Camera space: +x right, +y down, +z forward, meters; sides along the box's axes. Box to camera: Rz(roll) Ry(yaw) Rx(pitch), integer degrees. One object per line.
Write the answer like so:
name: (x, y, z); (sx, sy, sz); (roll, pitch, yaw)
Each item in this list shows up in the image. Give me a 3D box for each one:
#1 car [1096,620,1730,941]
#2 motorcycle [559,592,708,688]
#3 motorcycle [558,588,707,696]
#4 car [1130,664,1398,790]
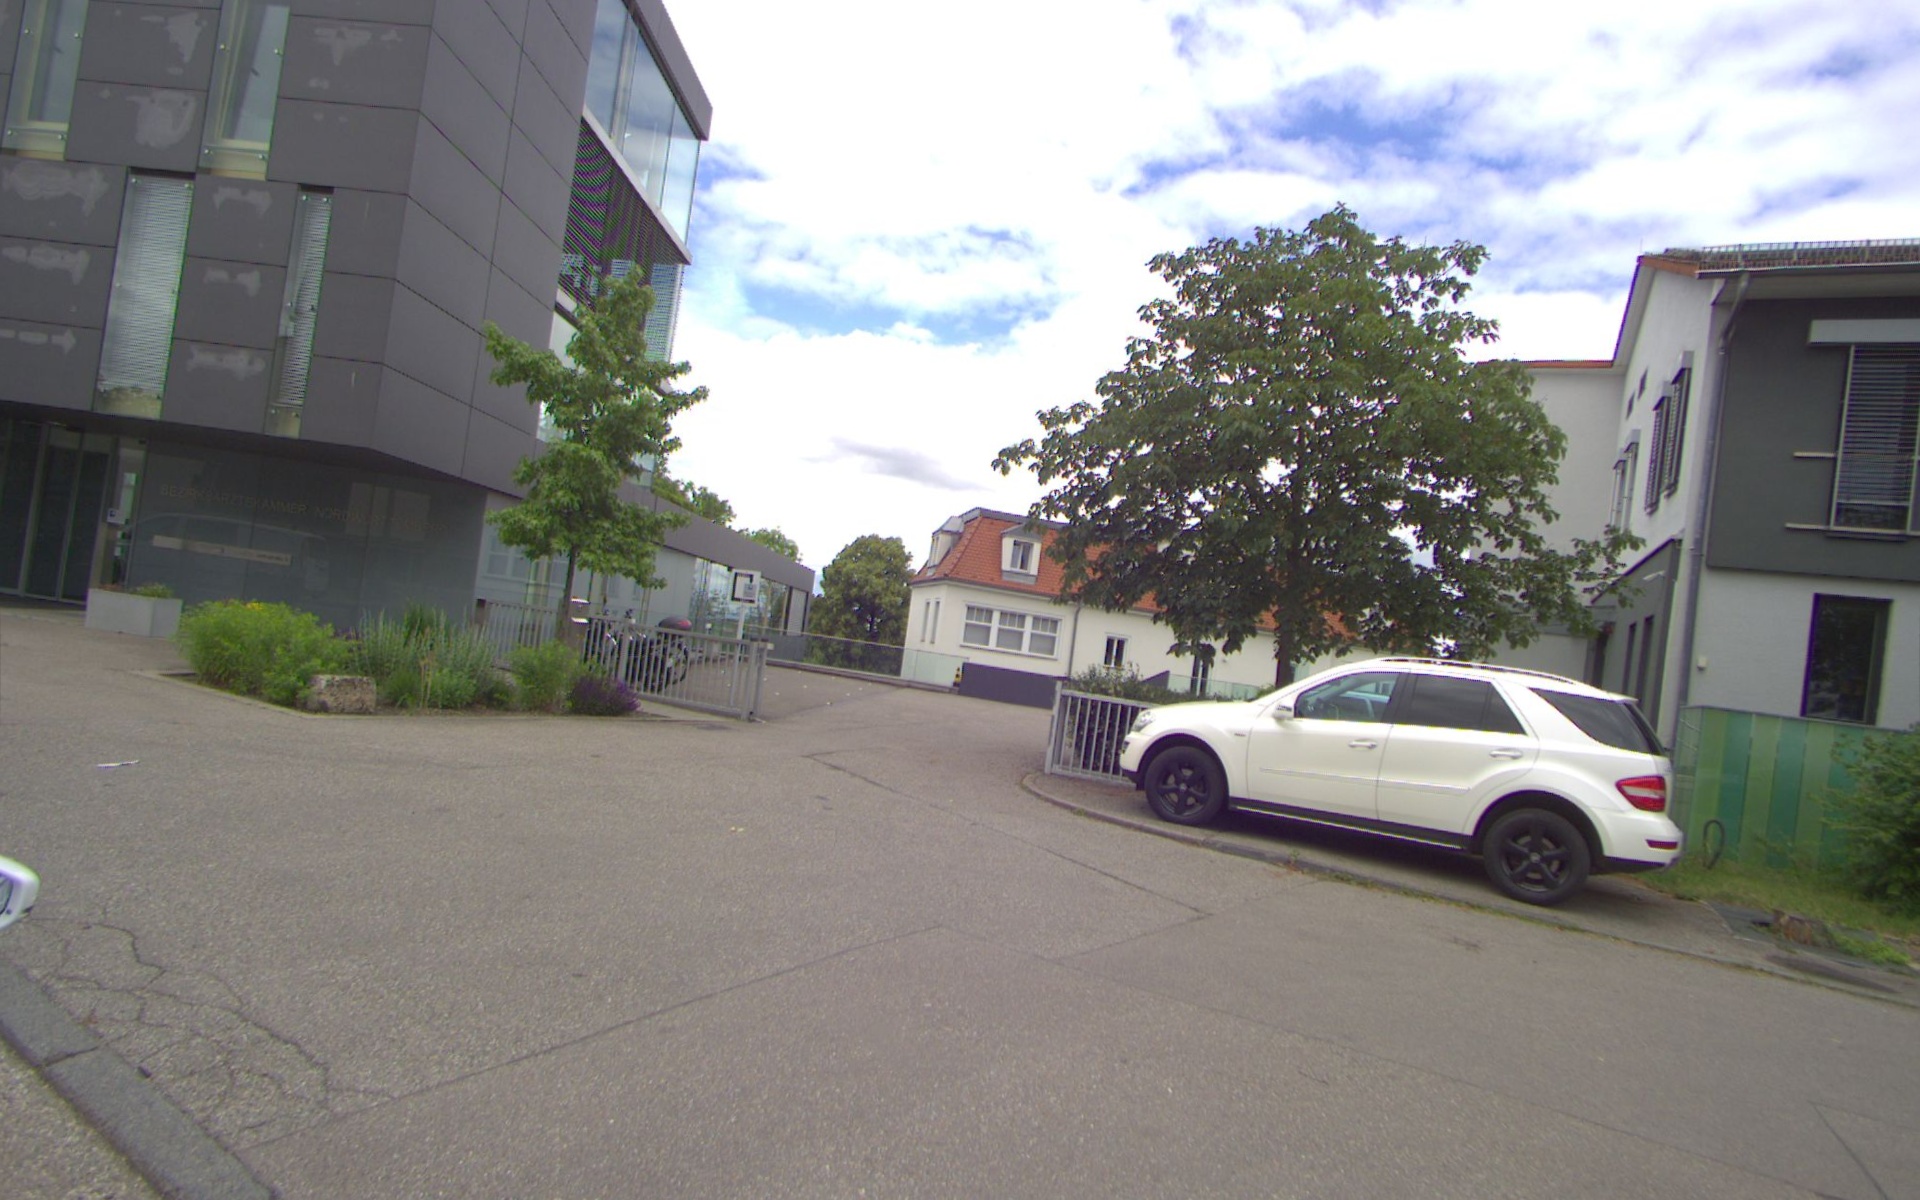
car: (3.835, 1.392, 9.111); (4.644, 1.778, 1.856); (7, -2, 31)
motorcycle: (-5.925, 0.722, 18.270); (2.416, 1.409, 0.671); (7, -1, 13)
motorcycle: (-5.289, 0.682, 16.270); (2.084, 1.409, 0.671); (8, -1, 13)
car: (5.236, 2.115, 17.363); (4.142, 1.501, 1.621); (5, -2, 25)
